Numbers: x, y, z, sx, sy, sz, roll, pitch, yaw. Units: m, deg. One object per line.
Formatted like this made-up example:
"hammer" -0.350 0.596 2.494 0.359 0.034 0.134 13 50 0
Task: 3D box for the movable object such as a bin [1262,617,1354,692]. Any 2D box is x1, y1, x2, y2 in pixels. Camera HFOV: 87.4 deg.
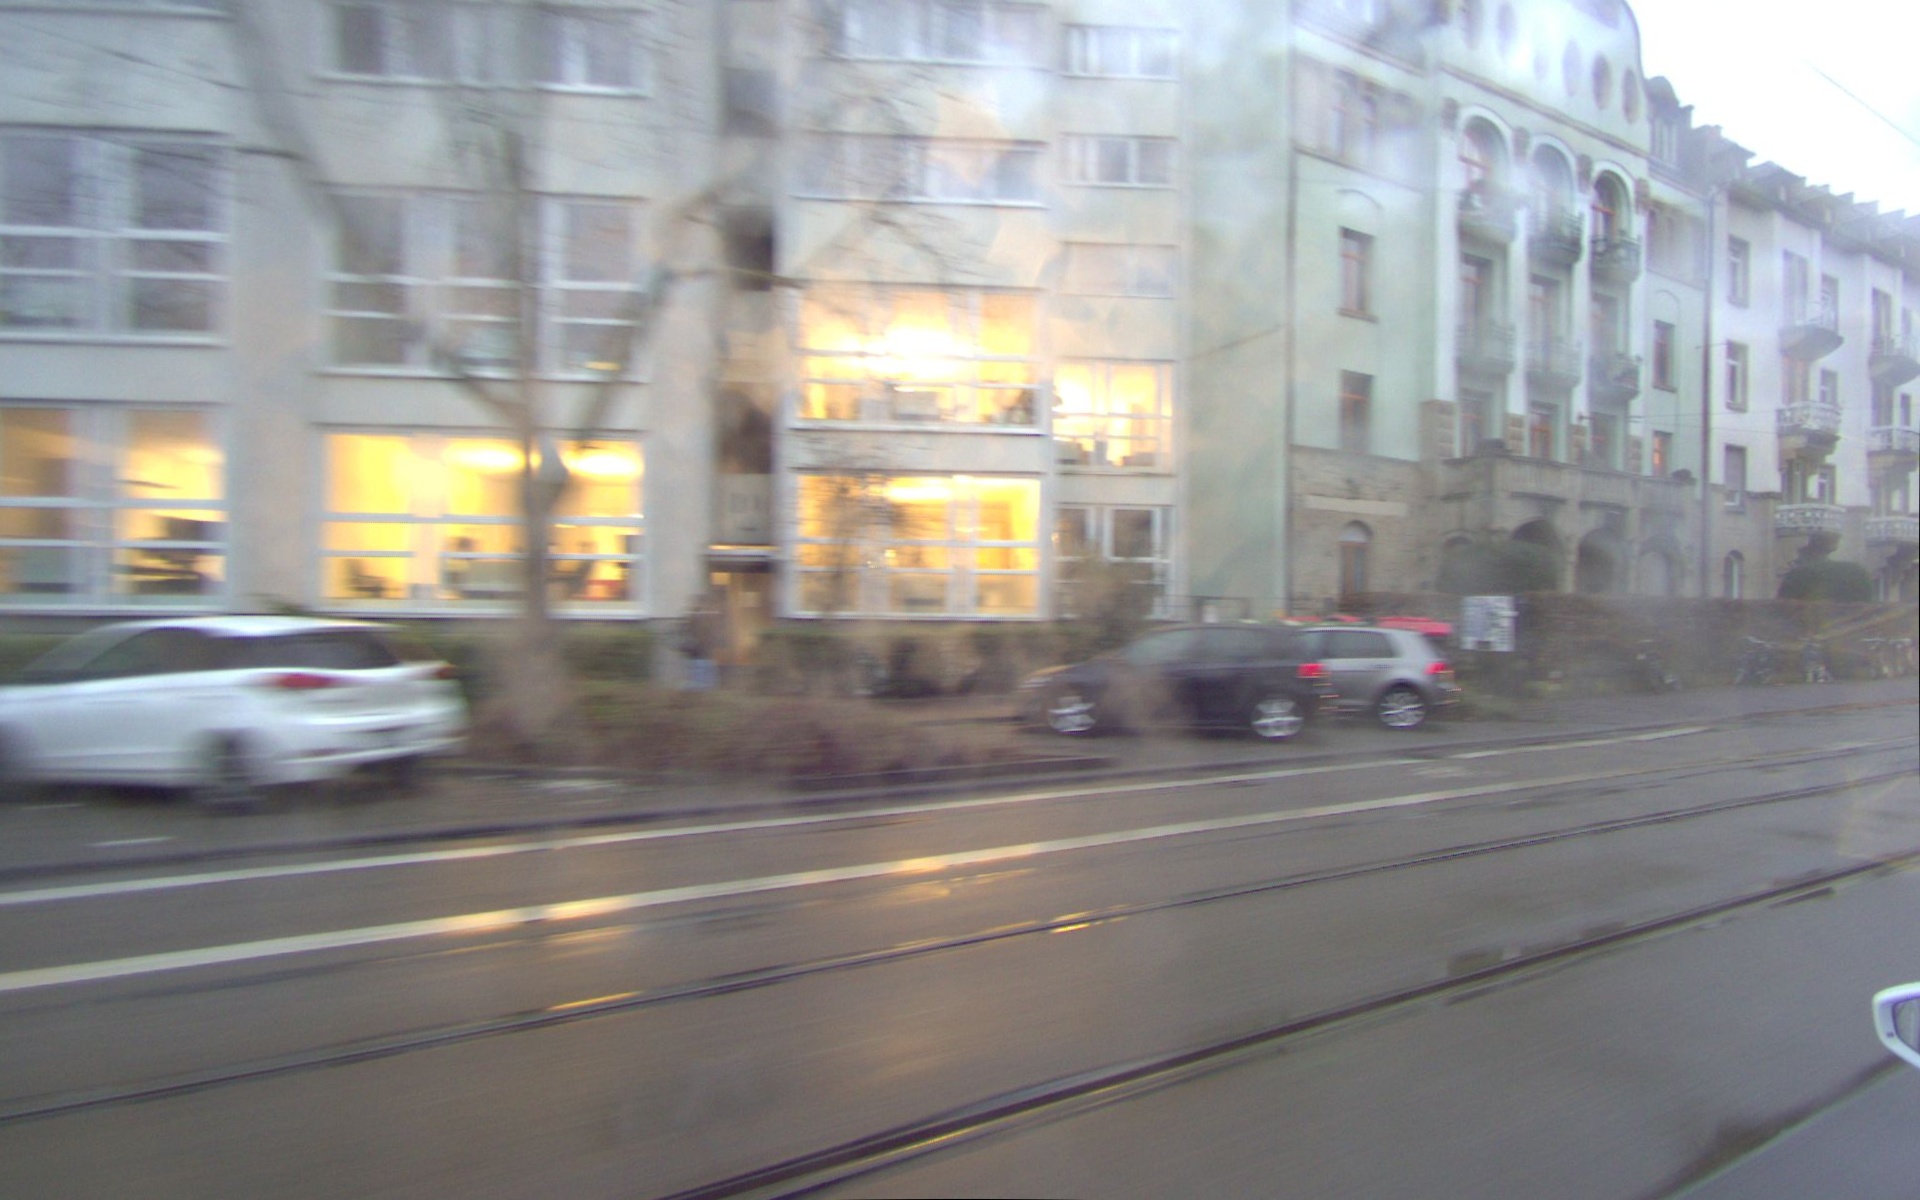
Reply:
"movable object such as a bin" 7.169 1.089 20.738 1.306 1.470 1.260 0 -1 -23

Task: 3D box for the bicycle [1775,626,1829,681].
"bicycle" 19.938 1.241 23.773 1.583 1.228 0.686 0 -1 -39

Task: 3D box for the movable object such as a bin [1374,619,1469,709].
"movable object such as a bin" 7.880 1.055 17.141 1.247 1.470 1.107 -1 -1 38

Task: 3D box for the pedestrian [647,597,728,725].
"pedestrian" -3.774 0.820 13.915 0.962 1.699 0.594 0 -1 -30

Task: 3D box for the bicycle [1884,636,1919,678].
"bicycle" 25.501 1.543 26.990 1.581 1.044 0.688 5 -4 -35

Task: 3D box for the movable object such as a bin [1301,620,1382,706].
"movable object such as a bin" 6.845 1.089 18.013 1.076 1.470 1.107 -1 -1 39

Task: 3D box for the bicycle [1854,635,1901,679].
"bicycle" 23.711 1.469 25.951 1.582 1.044 0.686 6 -4 -39

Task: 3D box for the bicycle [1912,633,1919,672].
"bicycle" 27.003 1.468 27.851 1.583 1.044 0.686 3 -2 -39

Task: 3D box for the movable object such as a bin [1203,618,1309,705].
"movable object such as a bin" 5.267 1.055 17.928 1.306 1.470 1.260 0 -1 -23

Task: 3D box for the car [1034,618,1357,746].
"car" 3.097 1.008 13.420 3.919 1.490 1.832 0 -1 15

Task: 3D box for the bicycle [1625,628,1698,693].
"bicycle" 13.942 1.181 19.948 1.580 1.228 0.687 0 -1 -35

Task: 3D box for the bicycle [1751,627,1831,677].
"bicycle" 22.219 1.375 26.889 0.483 1.279 1.585 6 -4 -25

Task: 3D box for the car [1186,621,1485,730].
"car" 5.442 1.048 14.930 3.920 1.447 1.849 0 -1 18

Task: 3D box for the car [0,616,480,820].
"car" -6.257 0.867 8.466 3.775 1.442 1.738 0 -1 15

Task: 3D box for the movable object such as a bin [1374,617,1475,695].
"movable object such as a bin" 9.135 1.066 19.794 1.306 1.470 1.260 0 -1 -23

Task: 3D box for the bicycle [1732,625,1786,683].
"bicycle" 17.747 1.174 22.295 1.583 1.228 0.624 0 -1 -39
